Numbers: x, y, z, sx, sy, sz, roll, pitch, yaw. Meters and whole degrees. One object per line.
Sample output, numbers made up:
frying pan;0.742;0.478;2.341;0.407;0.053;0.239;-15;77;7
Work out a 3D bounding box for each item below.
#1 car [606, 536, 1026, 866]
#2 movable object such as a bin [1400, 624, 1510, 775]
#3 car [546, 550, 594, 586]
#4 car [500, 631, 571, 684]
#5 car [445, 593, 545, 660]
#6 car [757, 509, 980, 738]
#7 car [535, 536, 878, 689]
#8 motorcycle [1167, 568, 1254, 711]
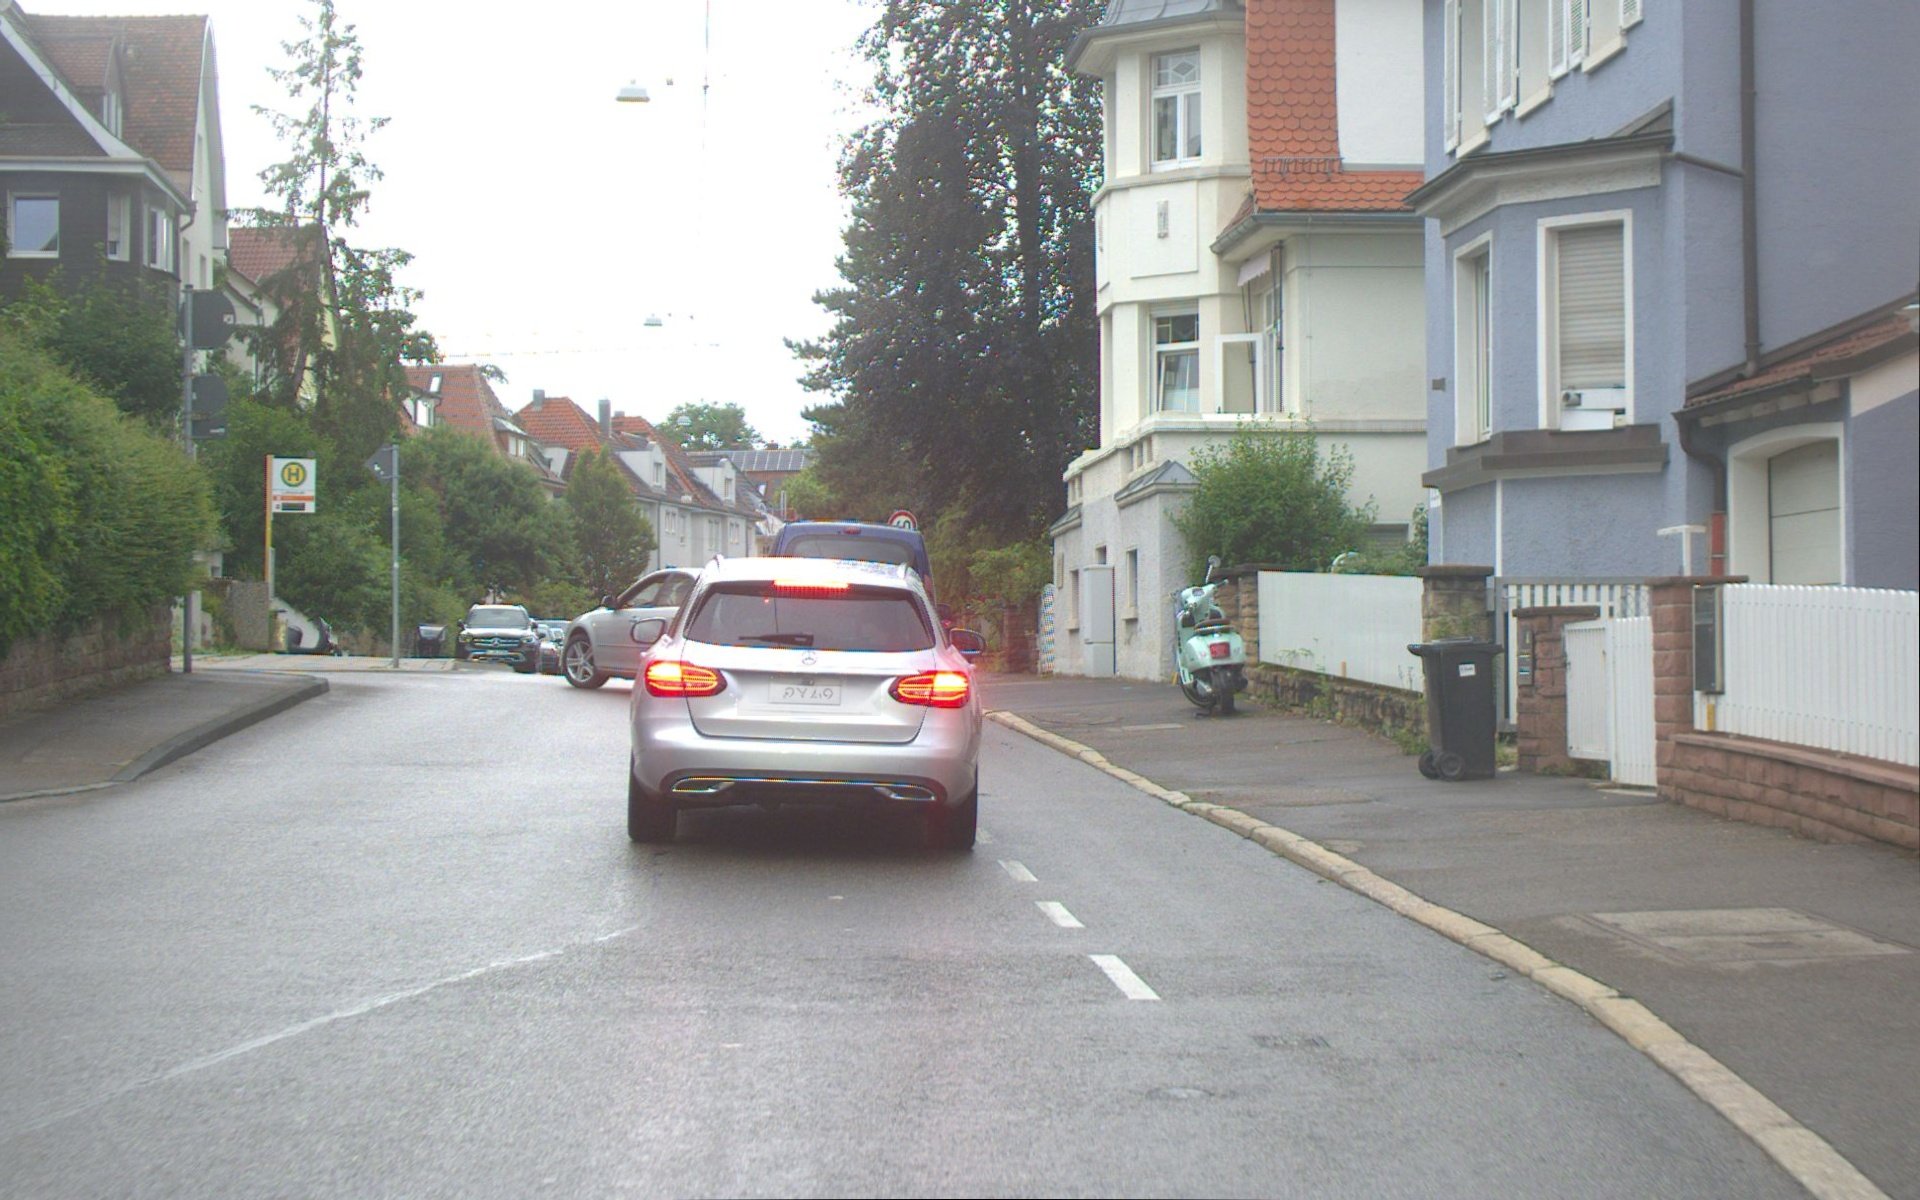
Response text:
car;-0.770;0.447;18.526;1.982;1.548;4.298;1;1;-2
movable object such as a bin;3.237;0.646;22.520;0.549;0.932;0.634;-3;1;-3
car;-14.369;-1.197;126.669;1.636;1.309;3.476;0;1;-5
car;-11.690;1.570;94.748;1.757;1.309;3.684;1;1;-5
car;-10.855;0.603;80.451;2.116;1.466;4.018;0;1;-5
car;-0.807;0.152;30.796;1.824;1.876;4.095;-1;1;-1
car;-2.825;0.094;37.428;1.993;1.534;4.333;0;1;-31
motorcycle;2.333;0.343;32.204;0.582;1.257;2.331;-2;1;-1
